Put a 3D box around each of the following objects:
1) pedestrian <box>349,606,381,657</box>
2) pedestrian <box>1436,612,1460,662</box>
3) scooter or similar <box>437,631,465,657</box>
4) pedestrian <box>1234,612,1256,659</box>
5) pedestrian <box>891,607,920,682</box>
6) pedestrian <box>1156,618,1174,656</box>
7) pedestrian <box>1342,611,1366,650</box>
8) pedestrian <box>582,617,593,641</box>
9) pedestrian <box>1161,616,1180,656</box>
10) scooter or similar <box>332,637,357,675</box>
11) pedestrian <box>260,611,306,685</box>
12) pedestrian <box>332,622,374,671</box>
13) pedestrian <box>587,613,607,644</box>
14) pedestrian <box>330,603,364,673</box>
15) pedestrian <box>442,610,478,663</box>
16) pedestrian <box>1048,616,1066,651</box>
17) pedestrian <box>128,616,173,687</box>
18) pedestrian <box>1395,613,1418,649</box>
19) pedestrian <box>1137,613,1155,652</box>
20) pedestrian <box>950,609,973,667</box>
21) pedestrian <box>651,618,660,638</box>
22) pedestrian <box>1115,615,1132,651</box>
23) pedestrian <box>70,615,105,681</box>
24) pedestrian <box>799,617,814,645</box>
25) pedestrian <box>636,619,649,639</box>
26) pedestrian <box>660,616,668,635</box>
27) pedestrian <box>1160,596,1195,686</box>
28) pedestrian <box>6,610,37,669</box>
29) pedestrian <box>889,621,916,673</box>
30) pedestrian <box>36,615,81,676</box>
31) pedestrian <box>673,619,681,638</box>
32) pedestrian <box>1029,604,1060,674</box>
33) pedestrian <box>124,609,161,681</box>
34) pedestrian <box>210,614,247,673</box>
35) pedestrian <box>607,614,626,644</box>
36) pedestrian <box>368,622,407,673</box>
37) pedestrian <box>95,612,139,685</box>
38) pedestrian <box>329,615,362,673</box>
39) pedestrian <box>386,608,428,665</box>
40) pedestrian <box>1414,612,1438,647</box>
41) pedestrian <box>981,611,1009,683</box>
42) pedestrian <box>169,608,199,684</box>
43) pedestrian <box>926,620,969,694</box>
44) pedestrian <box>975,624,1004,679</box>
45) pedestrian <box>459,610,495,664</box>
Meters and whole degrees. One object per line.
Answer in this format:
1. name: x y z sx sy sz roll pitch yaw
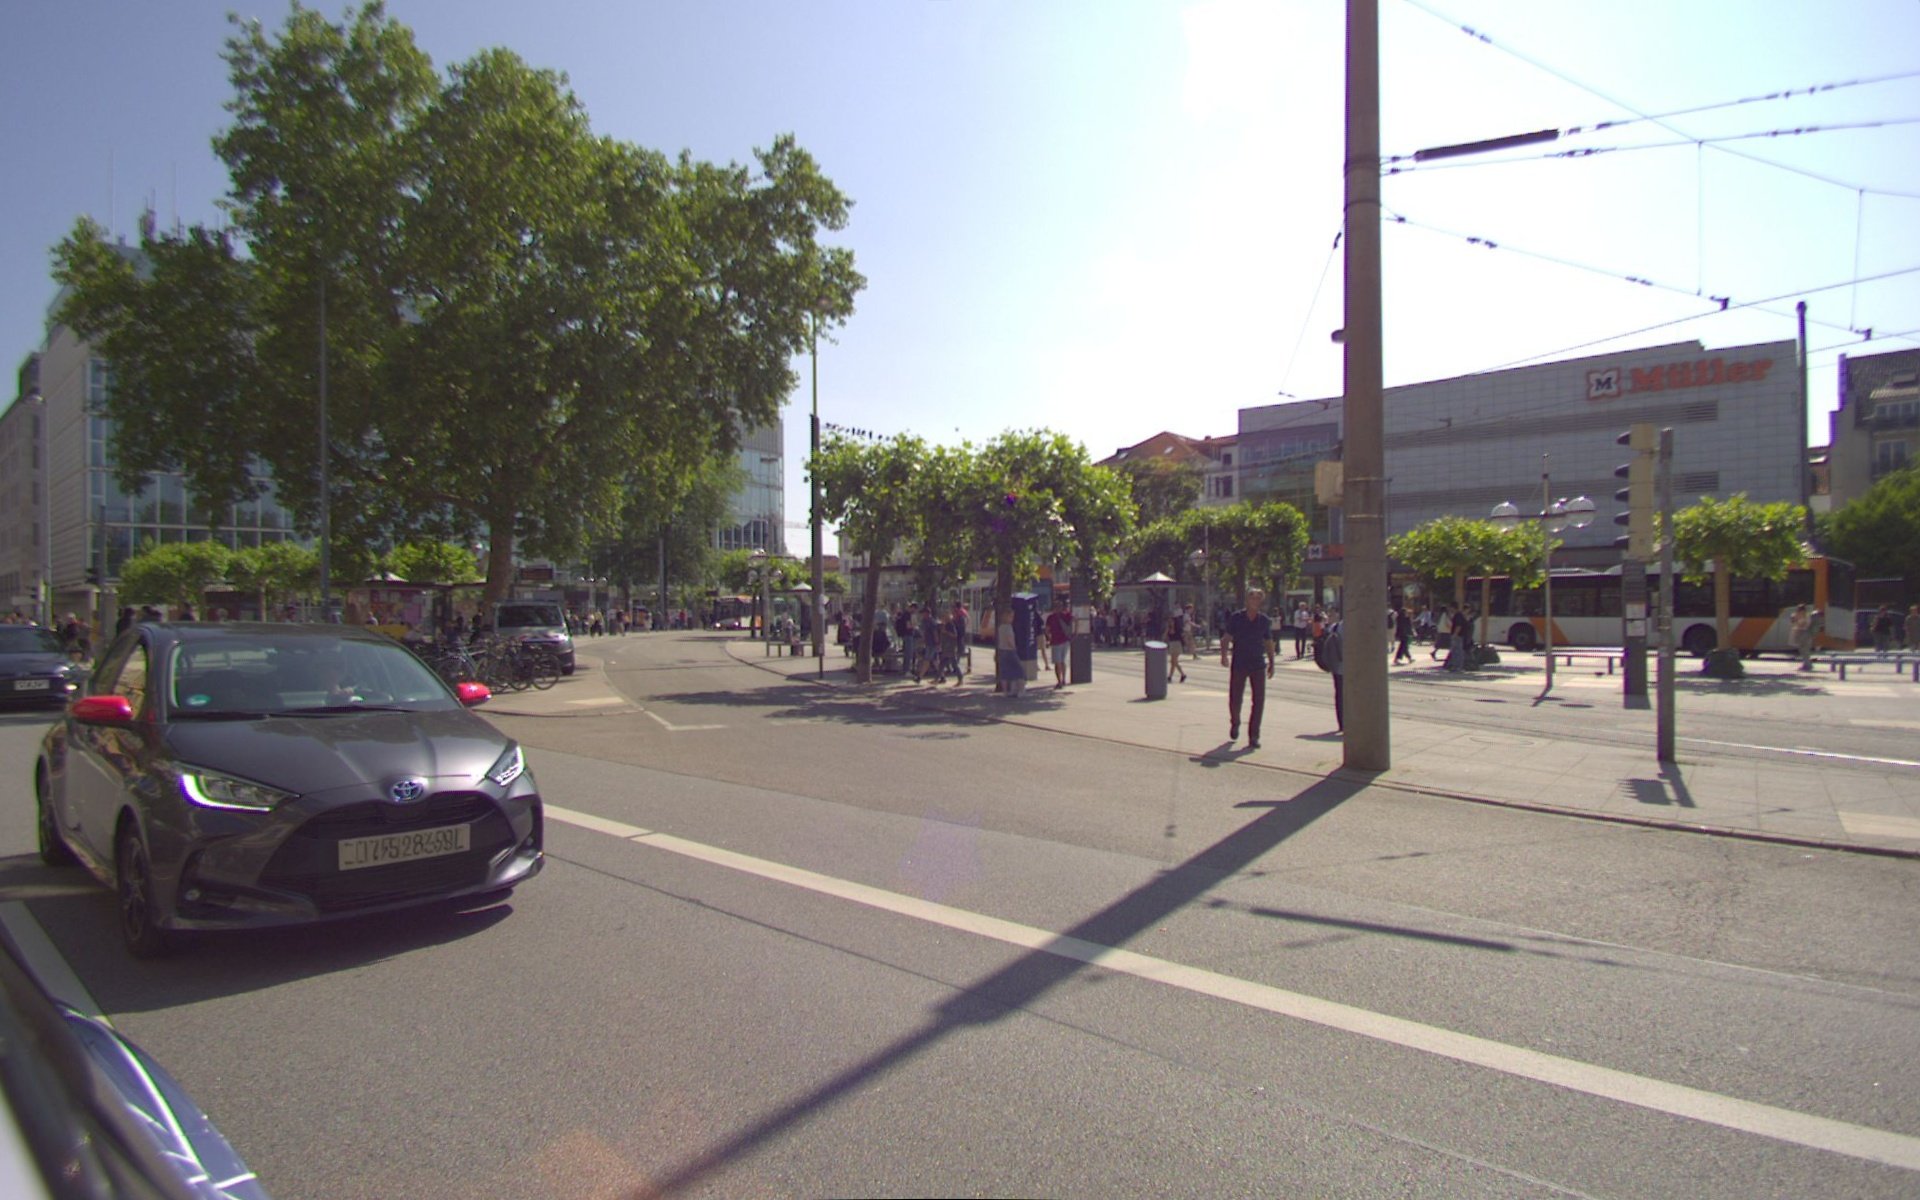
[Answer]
1. pedestrian: -21.370 1.124 36.356 0.782 1.760 0.742 -1 0 39
2. pedestrian: 14.818 1.132 30.750 0.621 1.477 0.674 -1 -4 25
3. scooter or similar: -14.456 1.245 28.756 0.570 0.652 0.788 -2 0 -16
4. pedestrian: 10.016 1.251 35.546 0.675 1.610 0.621 -1 -4 19
5. pedestrian: -1.339 1.093 24.819 0.671 1.808 0.625 0 -3 -1
6. pedestrian: 8.326 1.511 41.123 0.675 1.561 0.575 -1 -4 17
7. pedestrian: 15.047 1.157 38.671 0.672 1.477 0.623 0 -3 7
8. pedestrian: -23.804 1.854 64.650 0.410 1.483 0.459 -2 0 39
9. pedestrian: 8.270 1.434 39.783 0.675 1.561 0.575 -1 -4 17
10. scooter or similar: -19.050 1.723 31.330 0.559 1.128 0.540 -2 0 -22
11. pedestrian: -16.005 1.122 23.929 0.640 1.704 0.637 -2 0 28
12. pedestrian: -18.010 1.374 30.027 0.780 1.418 0.744 -2 0 31
13. pedestrian: -21.198 1.641 59.091 0.780 1.760 0.744 -2 0 31
14. pedestrian: -15.750 0.977 26.002 0.516 1.755 0.511 -2 0 28
15. pedestrian: -16.877 1.224 34.145 0.780 1.760 0.744 -2 0 31
16. pedestrian: 4.463 1.550 46.748 0.568 1.561 0.683 2 -4 -22
17. pedestrian: -19.524 1.230 24.420 0.620 1.661 0.754 -2 0 -23
18. pedestrian: 18.478 1.301 41.867 0.672 1.477 0.623 0 -3 7
19. pedestrian: 7.509 1.325 40.848 0.675 1.561 0.575 -1 -4 17
20. pedestrian: 0.049 1.193 31.599 0.485 1.791 0.519 -3 -4 40
21. pedestrian: -23.754 2.156 78.884 0.546 1.483 0.760 -2 0 -12
22. pedestrian: 7.078 1.444 43.831 0.675 1.561 0.575 -1 -4 17
23. pedestrian: -23.854 1.304 27.671 0.752 1.760 0.605 -2 -1 40
24. pedestrian: -8.378 1.691 55.161 0.547 1.483 0.533 -2 0 -42
25. pedestrian: -23.286 2.114 74.248 0.757 1.483 0.548 -1 0 40
26. pedestrian: -23.037 1.971 78.731 0.546 1.483 0.760 -2 0 -12
27. pedestrian: 4.996 0.936 23.237 0.563 2.023 0.686 -1 -1 32
28. pedestrian: -31.465 1.300 33.917 0.733 1.928 0.631 -1 0 39
29. pedestrian: -1.649 1.351 28.985 0.580 1.477 0.557 2 -4 -28
30. pedestrian: -27.217 1.359 30.558 0.732 1.760 0.865 -1 0 39
31. pedestrian: -22.905 2.321 81.833 0.546 1.483 0.760 -2 0 -12
32. pedestrian: 2.243 1.029 26.808 0.605 1.830 0.570 -3 -5 41
33. pedestrian: -21.534 1.188 26.646 0.738 1.860 0.587 -2 -2 40
34. pedestrian: -22.488 1.333 31.109 0.666 1.760 0.742 -1 0 39
35. pedestrian: -21.079 1.773 62.076 0.780 1.760 0.744 -2 0 31
36. pedestrian: -16.980 1.396 30.004 0.671 1.435 0.744 -2 0 31
37. pedestrian: -21.177 1.202 25.431 0.529 1.796 0.745 -2 0 -14
38. pedestrian: -19.398 1.386 31.962 0.739 1.760 0.785 -2 0 -23
39. pedestrian: -16.221 1.070 29.676 0.780 1.608 0.744 -2 0 31
40. pedestrian: 21.243 1.363 46.160 0.840 1.561 0.677 -1 -4 14
41. pedestrian: 0.859 1.156 24.924 0.508 1.732 0.476 -3 -5 41
42. pedestrian: -19.306 1.133 25.173 0.510 1.849 0.716 -2 0 -41
43. pedestrian: -0.262 1.198 21.289 0.680 1.536 0.616 -3 -5 41
44. pedestrian: 0.759 1.330 26.178 0.670 1.381 0.804 0 -3 -3
45. pedestrian: -16.061 1.220 33.644 0.780 1.760 0.744 -2 0 31
